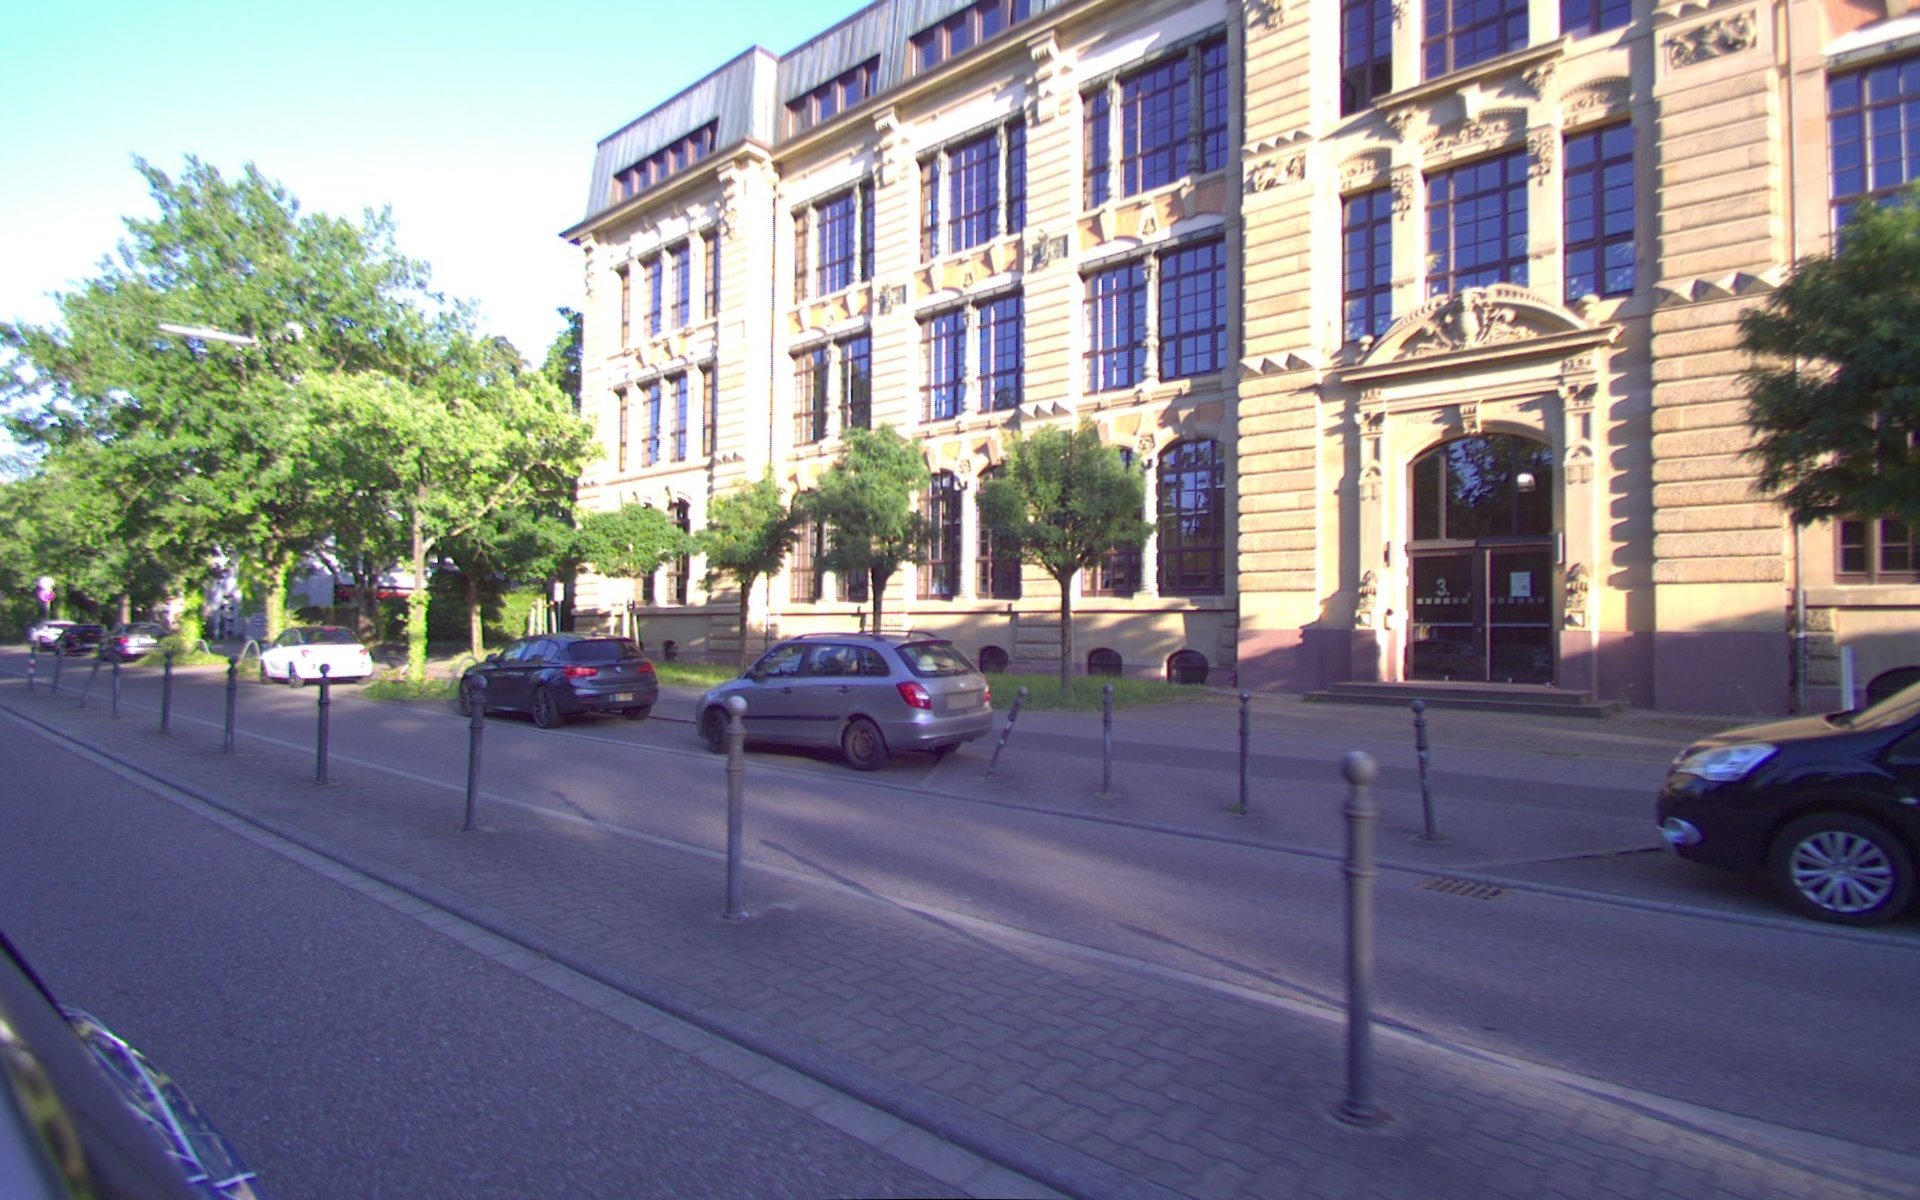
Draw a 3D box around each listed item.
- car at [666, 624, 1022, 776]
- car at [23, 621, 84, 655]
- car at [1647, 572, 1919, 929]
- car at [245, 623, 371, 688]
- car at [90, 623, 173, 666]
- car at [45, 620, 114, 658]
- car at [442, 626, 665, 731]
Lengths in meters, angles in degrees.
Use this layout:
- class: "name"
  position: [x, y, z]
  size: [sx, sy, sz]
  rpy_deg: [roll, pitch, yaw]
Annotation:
- class: "car"
  position: [-1.532, 1.077, 12.419]
  size: [4.369, 1.507, 1.703]
  rpy_deg: [-1, 0, 37]
- class: "car"
  position: [-46.048, 1.895, 51.391]
  size: [4.145, 1.628, 1.784]
  rpy_deg: [-1, -2, 41]
- class: "car"
  position: [6.353, 0.763, 5.325]
  size: [4.330, 1.880, 1.759]
  rpy_deg: [-1, 0, 41]
- class: "car"
  position: [-16.434, 1.341, 25.442]
  size: [3.922, 1.507, 1.601]
  rpy_deg: [-1, -2, 41]
- class: "car"
  position: [-31.926, 1.649, 38.948]
  size: [4.861, 1.522, 1.783]
  rpy_deg: [-1, -1, 42]
- class: "car"
  position: [-39.892, 1.748, 45.834]
  size: [4.145, 1.628, 1.761]
  rpy_deg: [-1, -1, 41]
- class: "car"
  position: [-6.803, 1.192, 16.711]
  size: [4.375, 1.507, 1.601]
  rpy_deg: [-1, -2, 41]
